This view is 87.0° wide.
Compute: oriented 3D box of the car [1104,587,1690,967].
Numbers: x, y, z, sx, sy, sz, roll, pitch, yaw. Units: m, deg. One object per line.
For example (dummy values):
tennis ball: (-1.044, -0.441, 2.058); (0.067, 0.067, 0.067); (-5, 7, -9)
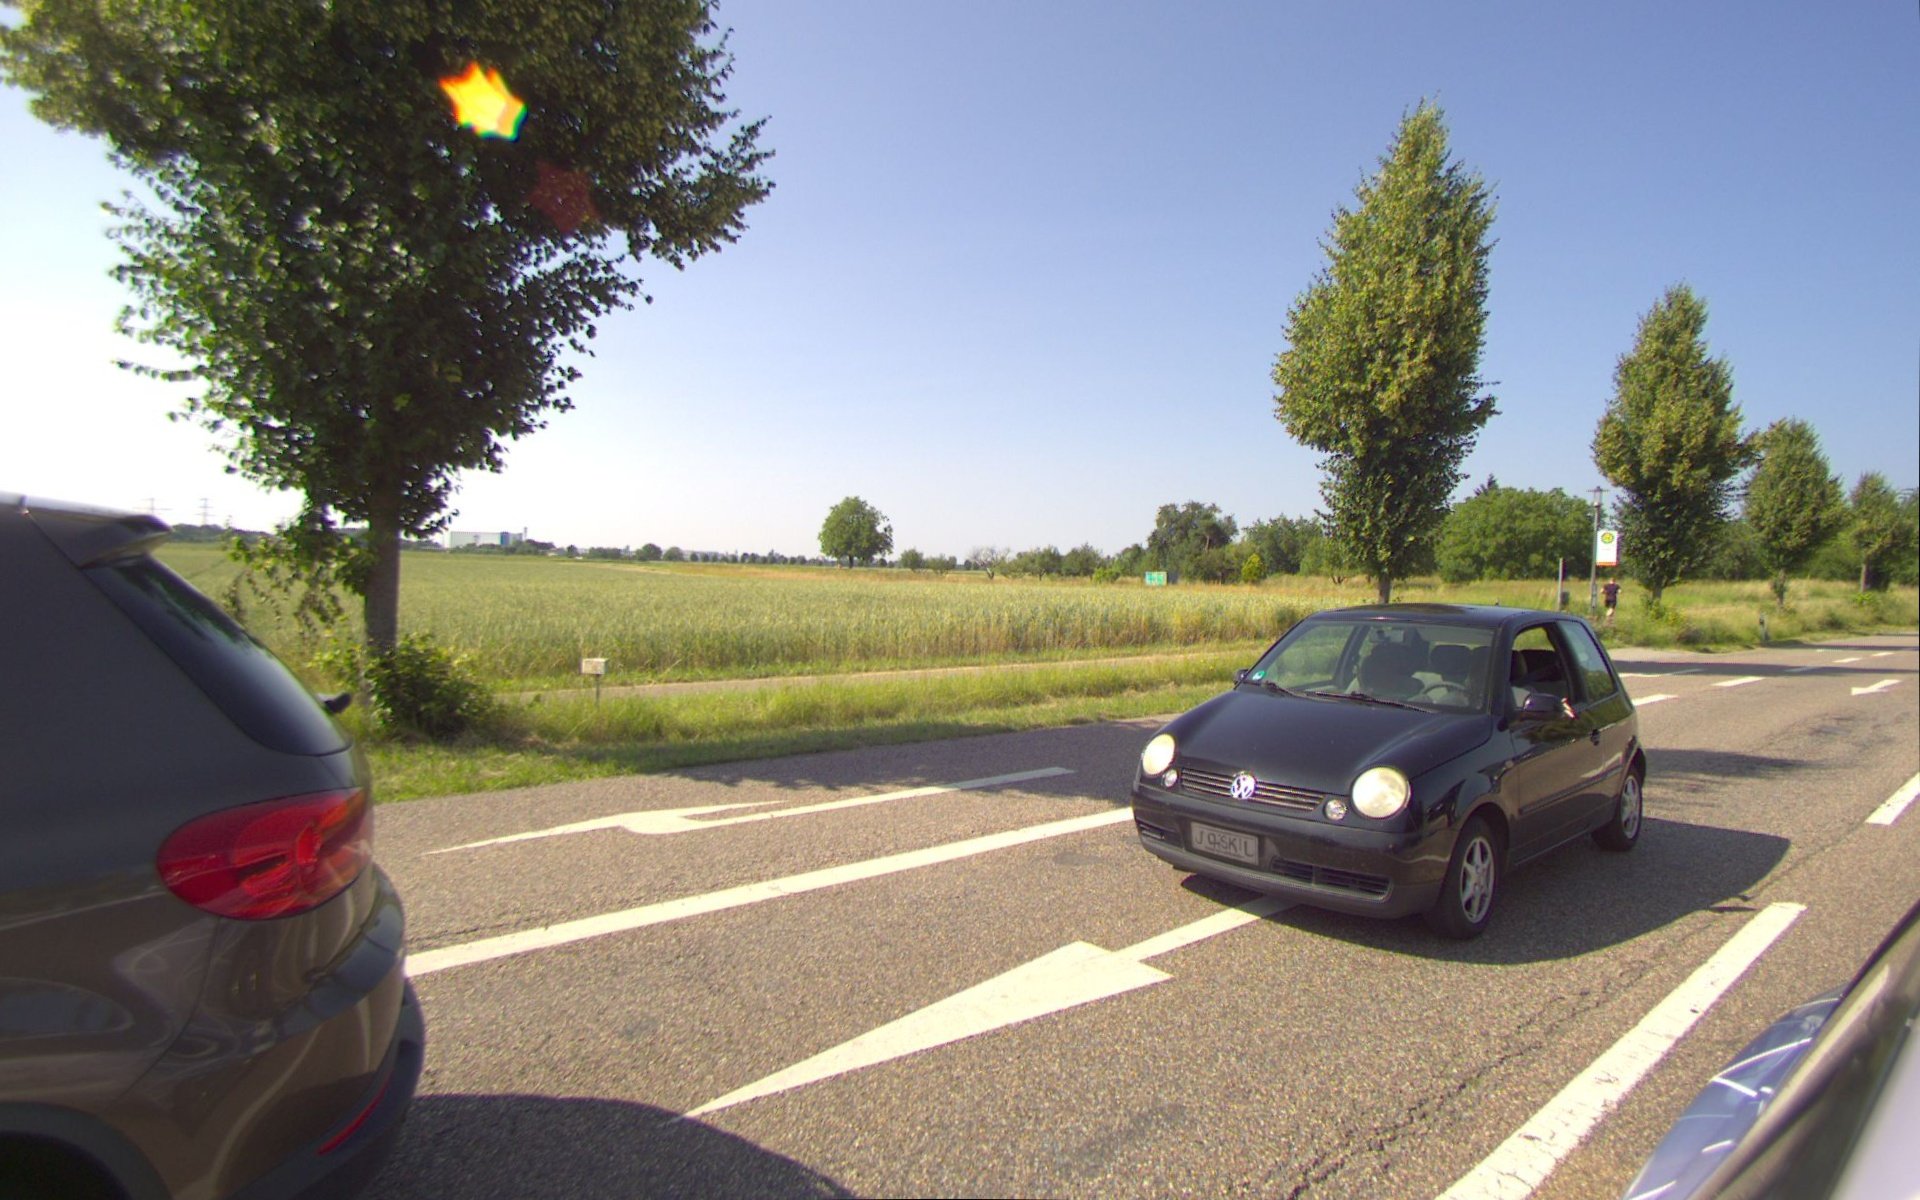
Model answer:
car: (2.602, 0.669, 5.665); (3.559, 1.451, 1.628); (0, 0, -41)

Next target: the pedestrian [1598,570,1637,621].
pedestrian: (24.641, -0.168, 37.914); (1.174, 1.862, 0.903); (0, 2, -43)

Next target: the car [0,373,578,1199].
car: (-2.771, 0.547, 1.096); (4.075, 1.676, 1.758); (0, 0, -42)
